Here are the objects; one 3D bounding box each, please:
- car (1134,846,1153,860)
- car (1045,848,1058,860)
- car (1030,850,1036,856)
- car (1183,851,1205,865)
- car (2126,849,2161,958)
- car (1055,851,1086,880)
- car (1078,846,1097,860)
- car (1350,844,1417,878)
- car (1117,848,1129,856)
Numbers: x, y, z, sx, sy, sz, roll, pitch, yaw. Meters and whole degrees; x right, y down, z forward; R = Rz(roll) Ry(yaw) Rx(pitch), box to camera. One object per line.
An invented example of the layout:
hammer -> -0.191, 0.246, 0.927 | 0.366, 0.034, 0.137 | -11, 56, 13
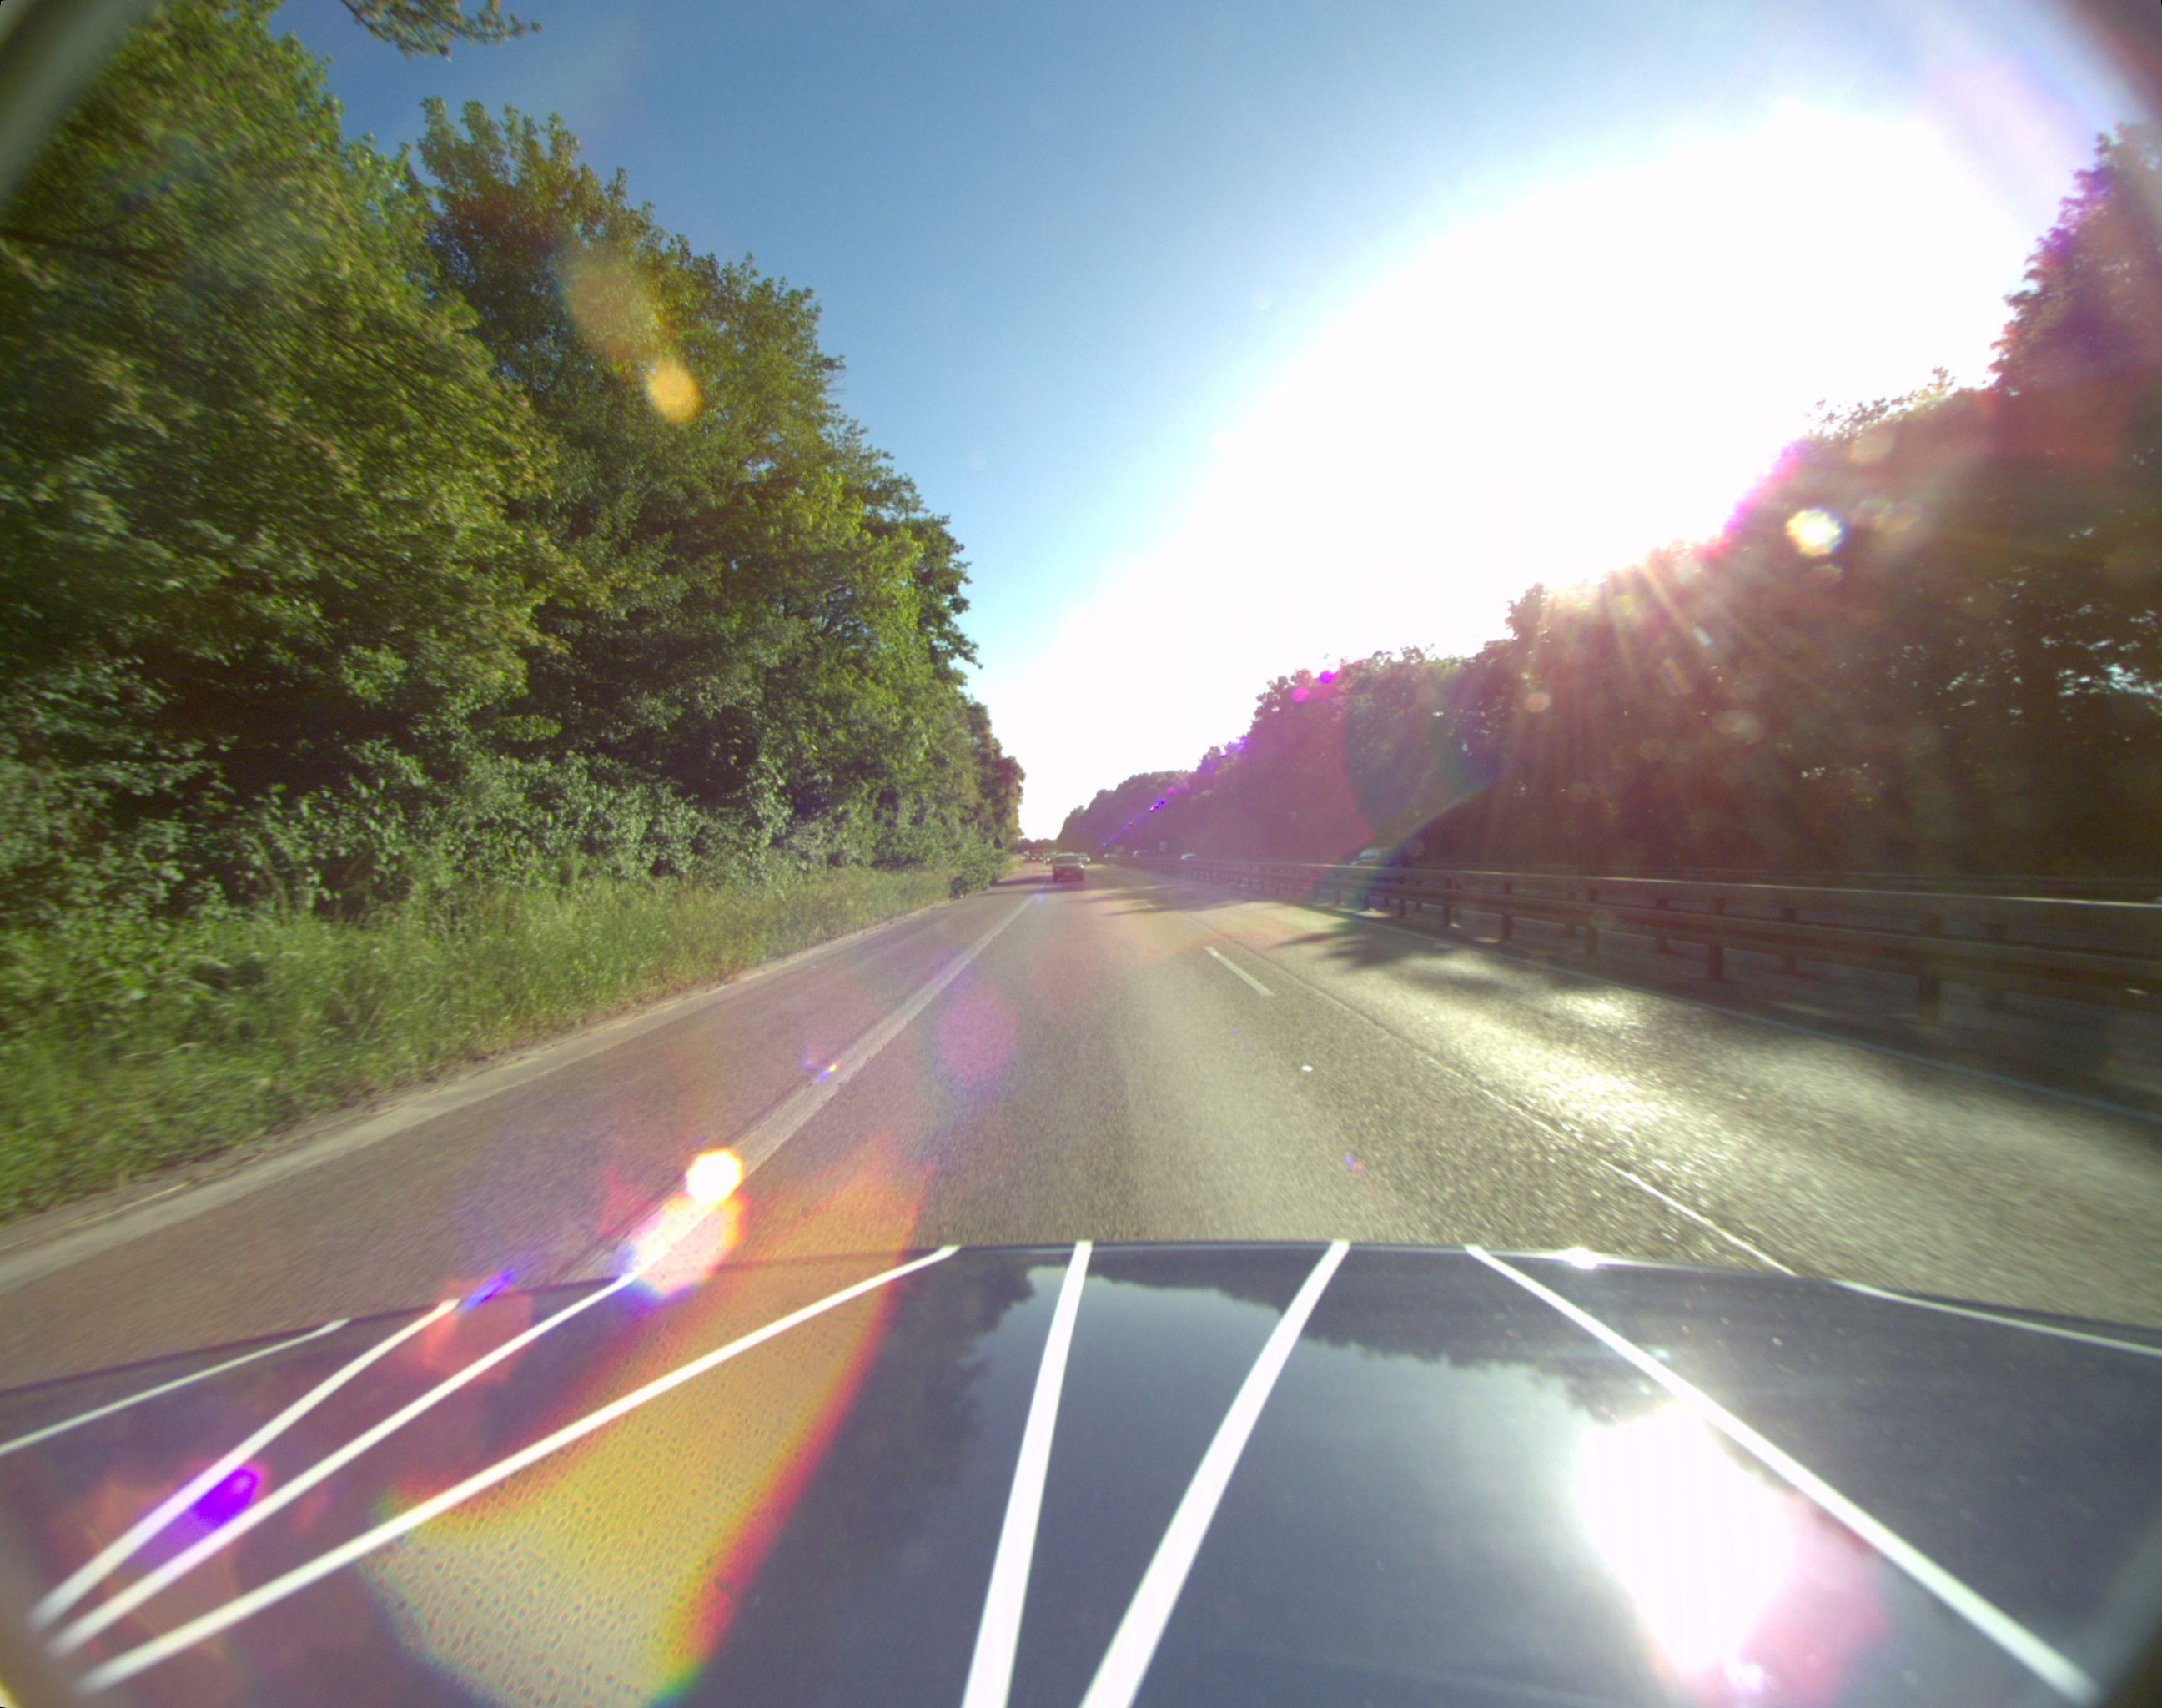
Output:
car -> 8.488, -0.171, 104.075 | 1.893, 1.892, 5.413 | 1, 0, -3
car -> -4.301, -0.020, 110.896 | 1.713, 1.565, 3.421 | -3, 1, -3
car -> -13.426, -0.392, 212.513 | 1.713, 1.565, 3.421 | -3, 1, -3
car -> 10.989, 0.354, 73.928 | 1.601, 1.306, 3.909 | 1, 0, 1
car -> 15.468, 0.665, 8.725 | 1.601, 1.472, 3.909 | -1, 0, 1
car -> -0.622, 0.644, 44.354 | 1.713, 1.565, 3.422 | -2, 1, -1
car -> 0.825, -0.190, 100.523 | 2.000, 1.793, 3.997 | 1, 0, -6
car -> 15.416, 0.327, 38.934 | 1.601, 1.629, 4.675 | 1, 0, 1
car -> 8.708, -0.352, 157.202 | 1.999, 1.576, 3.998 | 1, 0, -4
